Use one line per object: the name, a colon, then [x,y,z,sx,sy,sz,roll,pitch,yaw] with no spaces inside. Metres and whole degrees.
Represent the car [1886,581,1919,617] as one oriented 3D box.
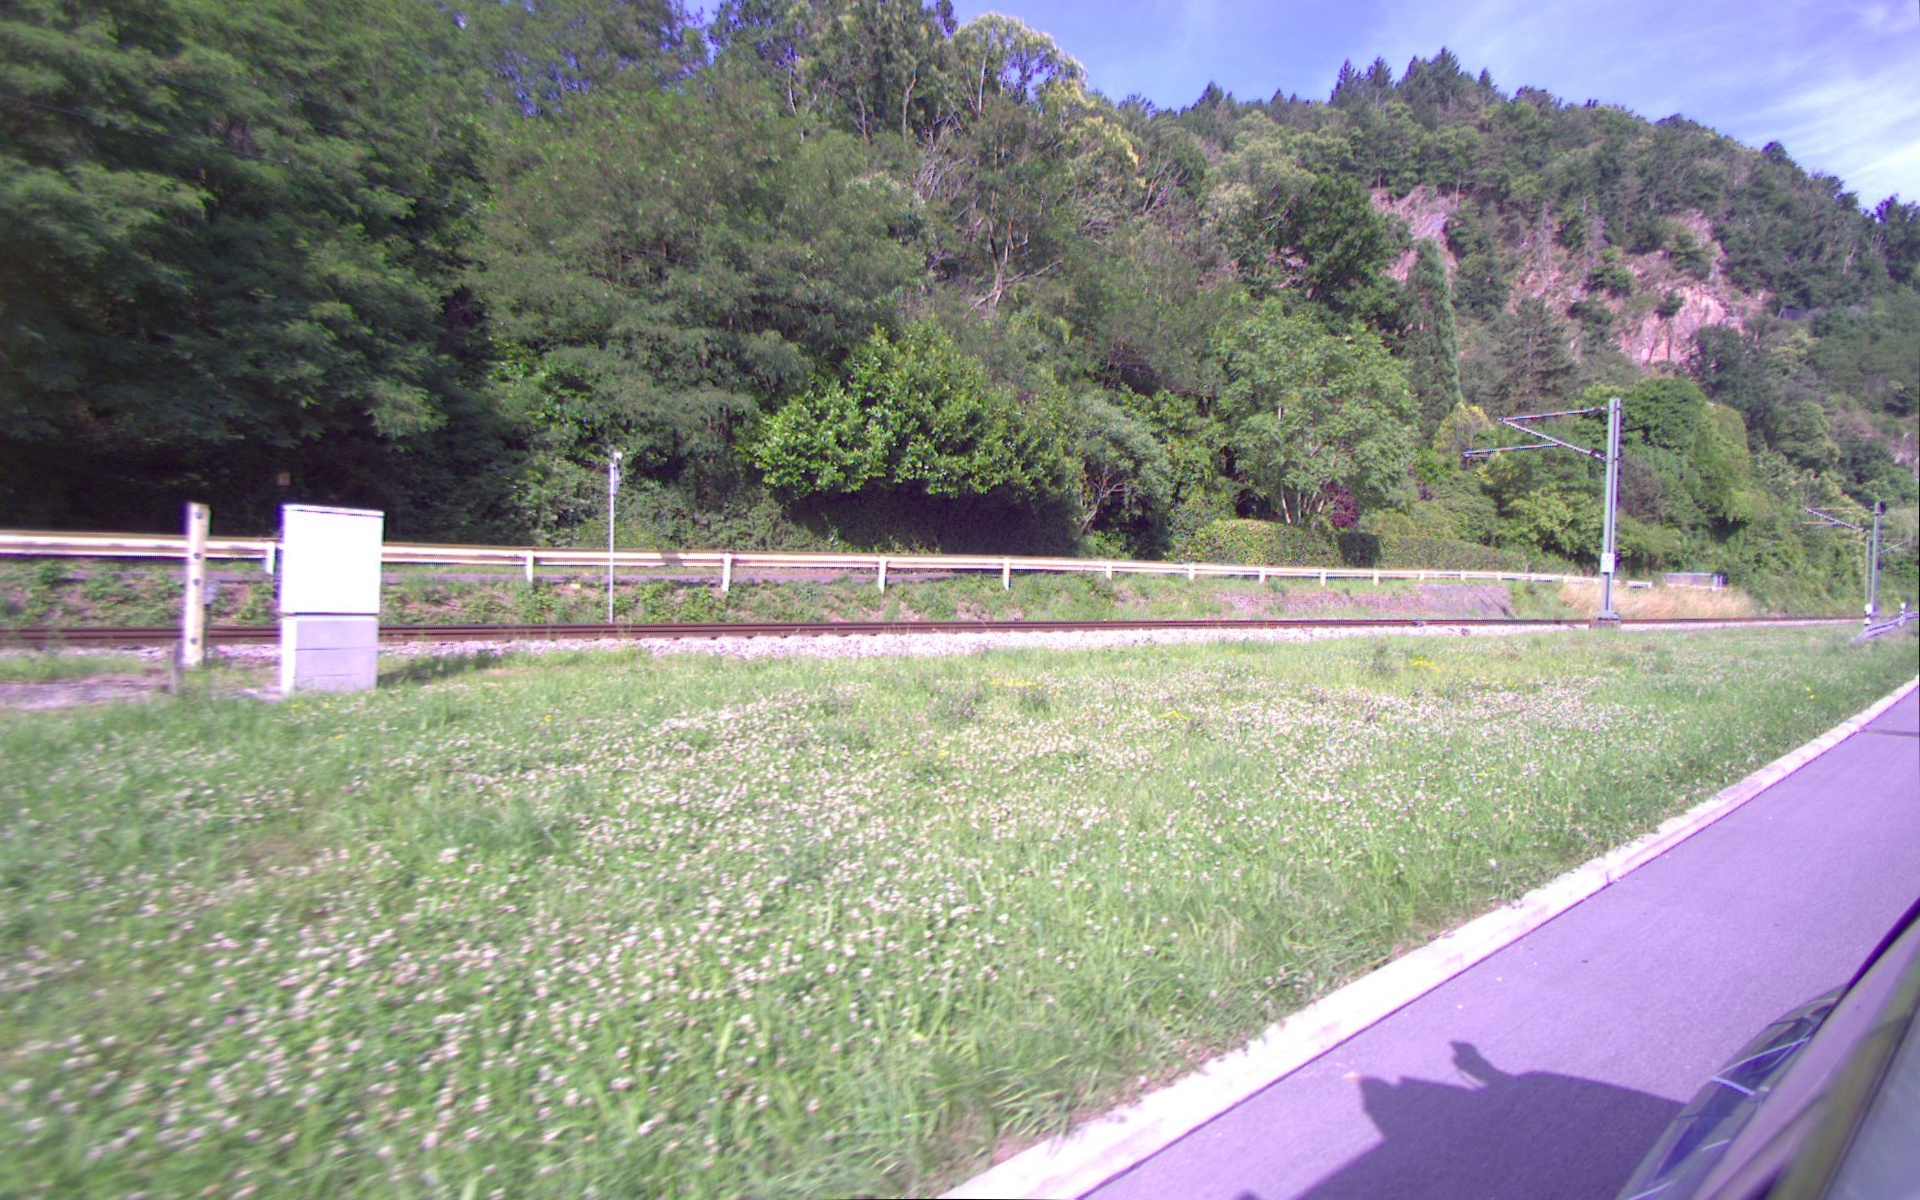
car: [57.264,-0.068,60.872,3.933,2.038,1.996,0,3,-44]
